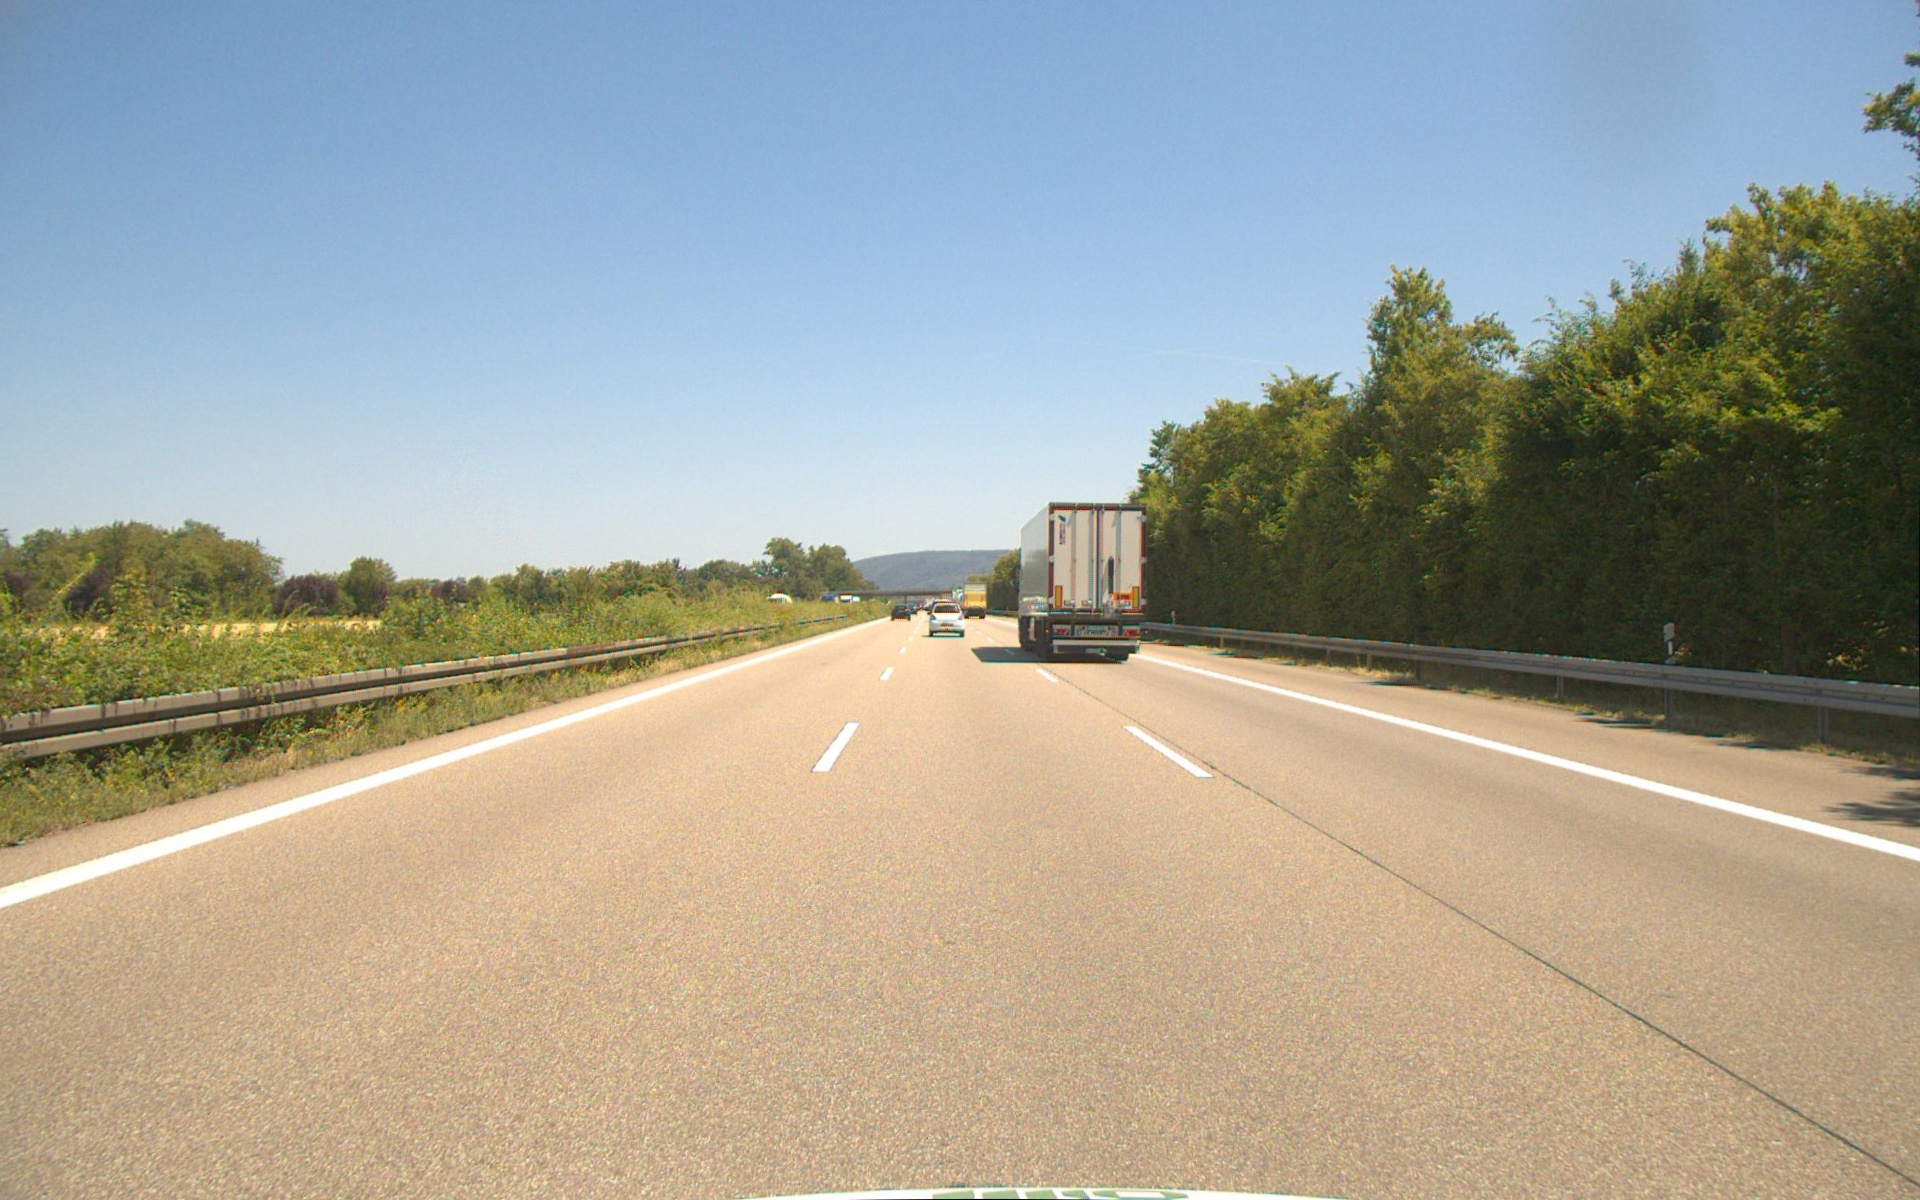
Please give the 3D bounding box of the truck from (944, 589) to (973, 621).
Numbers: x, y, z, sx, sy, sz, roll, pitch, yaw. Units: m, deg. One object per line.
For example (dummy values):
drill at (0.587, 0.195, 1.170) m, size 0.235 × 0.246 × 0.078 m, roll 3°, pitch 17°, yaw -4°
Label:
truck at (-0.260, 0.800, 248.922) m, size 4.184 × 4.733 × 13.857 m, roll 0°, pitch 0°, yaw -1°

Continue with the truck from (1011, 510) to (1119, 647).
truck at (3.539, -0.713, 57.298) m, size 3.152 × 4.421 × 6.589 m, roll 1°, pitch 0°, yaw -1°

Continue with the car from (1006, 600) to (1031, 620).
car at (5.213, 0.861, 147.988) m, size 1.953 × 1.742 × 3.999 m, roll 0°, pitch 0°, yaw -1°

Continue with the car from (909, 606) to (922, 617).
car at (-6.357, 1.647, 234.493) m, size 1.759 × 1.578 × 3.999 m, roll 0°, pitch 0°, yaw -1°

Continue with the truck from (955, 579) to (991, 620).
truck at (1.361, -0.102, 189.612) m, size 3.793 × 4.421 × 13.858 m, roll 1°, pitch 0°, yaw -1°

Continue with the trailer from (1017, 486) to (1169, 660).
trailer at (3.663, -0.700, 49.316) m, size 3.152 × 4.421 × 13.626 m, roll 1°, pitch 0°, yaw -1°

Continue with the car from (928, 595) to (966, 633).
car at (-0.614, 0.619, 77.811) m, size 1.697 × 1.713 × 3.999 m, roll -1°, pitch 0°, yaw -1°

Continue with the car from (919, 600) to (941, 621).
car at (-2.565, 0.904, 140.932) m, size 1.750 × 1.742 × 3.999 m, roll 1°, pitch 0°, yaw -1°

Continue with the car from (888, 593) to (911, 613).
car at (-5.436, 0.277, 149.127) m, size 1.953 × 1.742 × 3.999 m, roll 1°, pitch 0°, yaw -1°
